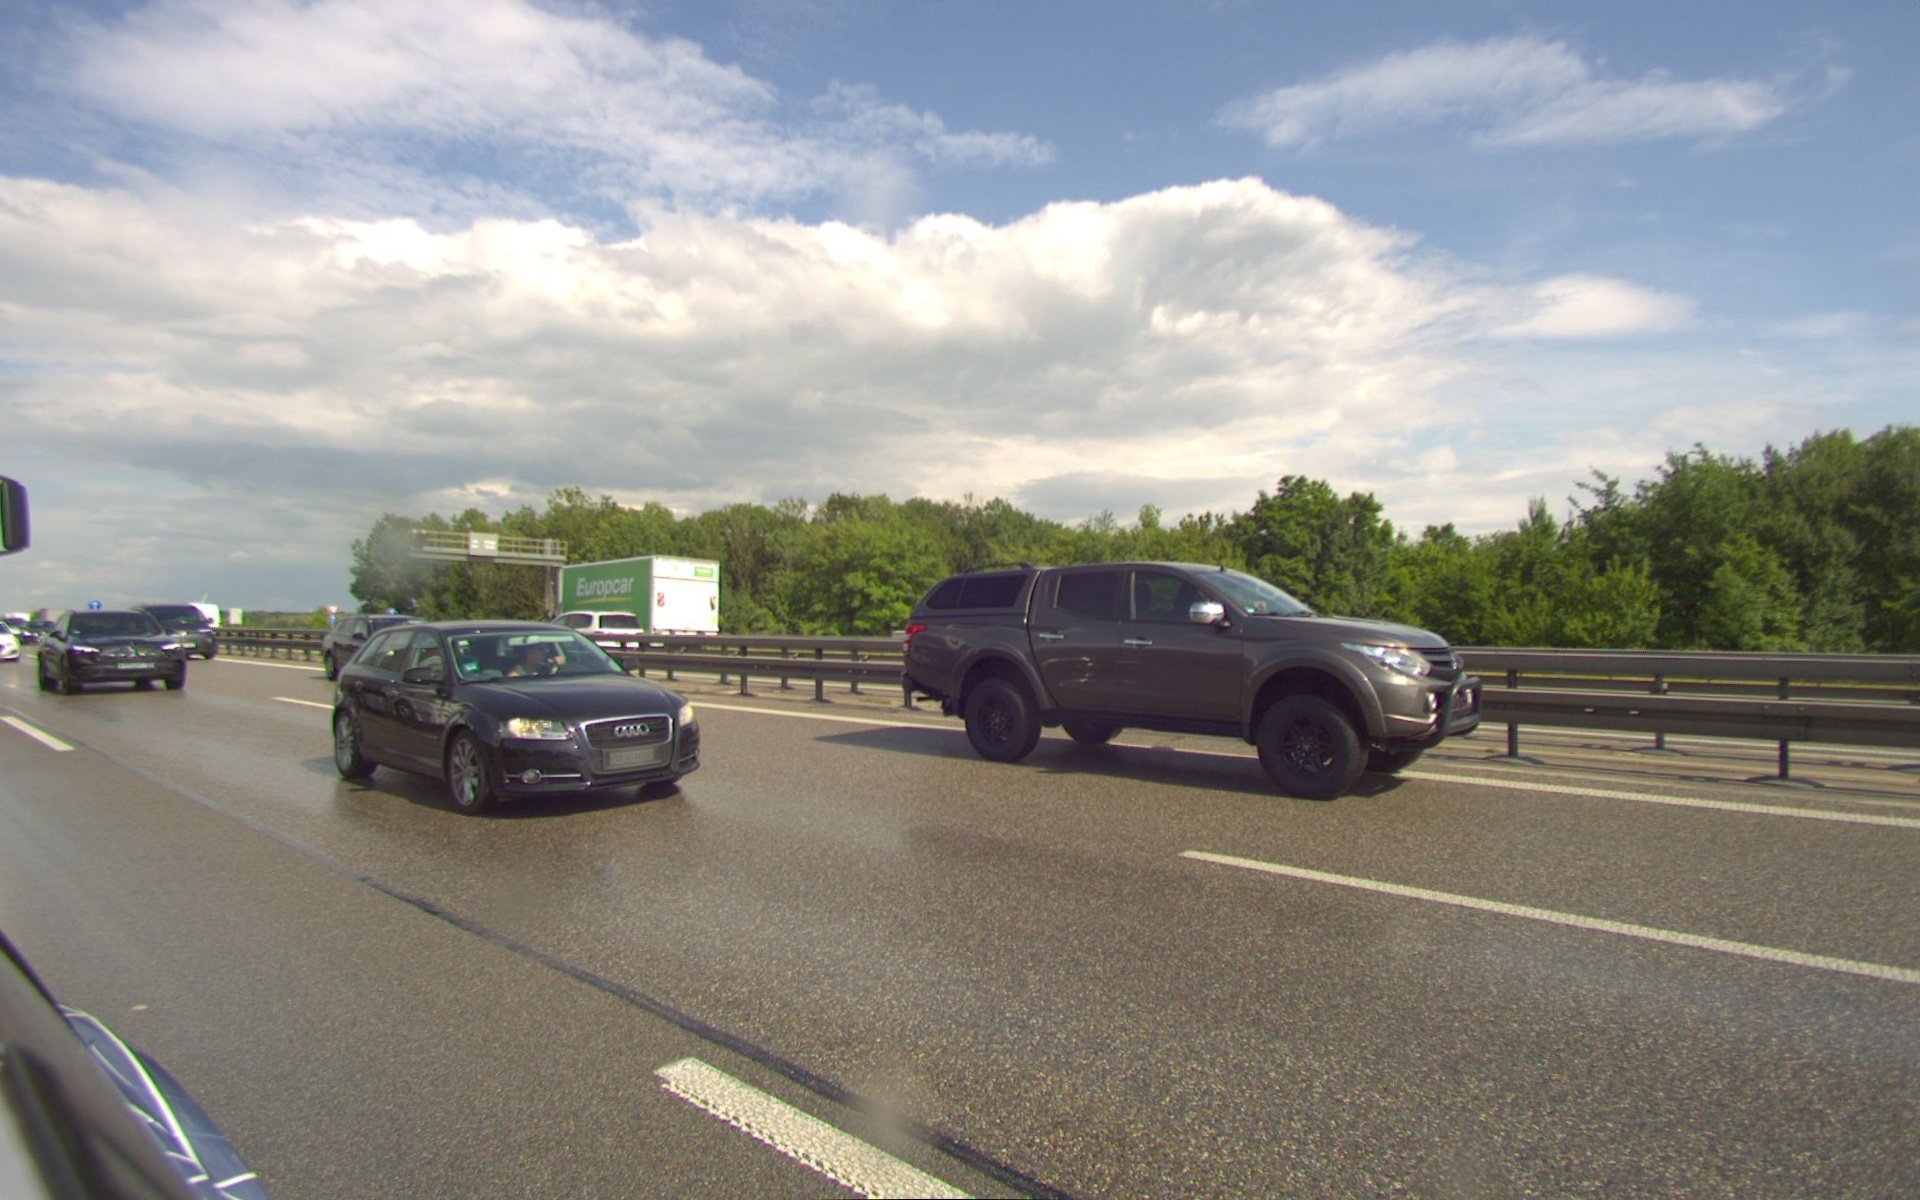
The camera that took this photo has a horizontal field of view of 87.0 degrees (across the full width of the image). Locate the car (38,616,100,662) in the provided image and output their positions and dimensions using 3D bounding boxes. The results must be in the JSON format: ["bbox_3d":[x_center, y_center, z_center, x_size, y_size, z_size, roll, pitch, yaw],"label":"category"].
[{"bbox_3d":[-33.279,1.432,37.800,2.829,1.609,1.391,-1,-1,41],"label":"car"}]

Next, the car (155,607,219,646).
[{"bbox_3d":[-49.908,1.692,65.294,6.100,2.414,2.091,-1,-1,41],"label":"car"}]

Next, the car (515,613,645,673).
[{"bbox_3d":[-11.466,1.247,30.408,4.242,1.655,1.748,-1,-1,39],"label":"car"}]

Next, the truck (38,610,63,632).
[{"bbox_3d":[-163.023,3.776,181.363,8.919,3.913,2.762,-1,-1,44],"label":"truck"}]

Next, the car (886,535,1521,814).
[{"bbox_3d":[1.857,0.541,9.210,5.416,1.858,1.787,-1,-1,42],"label":"car"}]

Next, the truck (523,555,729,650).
[{"bbox_3d":[-12.038,0.117,35.945,8.717,3.009,2.886,-1,0,41],"label":"truck"}]

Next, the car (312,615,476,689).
[{"bbox_3d":[-12.414,1.071,22.066,4.372,1.435,1.899,-1,-1,43],"label":"car"}]

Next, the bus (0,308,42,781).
[{"bbox_3d":[-12.883,-0.397,11.262,9.840,4.159,2.867,-1,-1,41],"label":"bus"}]

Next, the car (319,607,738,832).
[{"bbox_3d":[-3.802,0.810,8.559,4.053,1.444,1.731,-1,-1,42],"label":"car"}]

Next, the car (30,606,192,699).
[{"bbox_3d":[-17.462,0.993,20.734,4.623,1.692,1.857,-1,-1,41],"label":"car"}]

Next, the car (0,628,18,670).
[{"bbox_3d":[-34.372,1.700,35.341,4.239,1.408,1.785,-1,-2,42],"label":"car"}]

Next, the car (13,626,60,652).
[{"bbox_3d":[-53.405,2.215,58.497,3.998,1.431,1.597,-1,-1,41],"label":"car"}]

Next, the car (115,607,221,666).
[{"bbox_3d":[-27.833,1.228,35.493,5.233,1.932,1.973,-1,-1,41],"label":"car"}]
